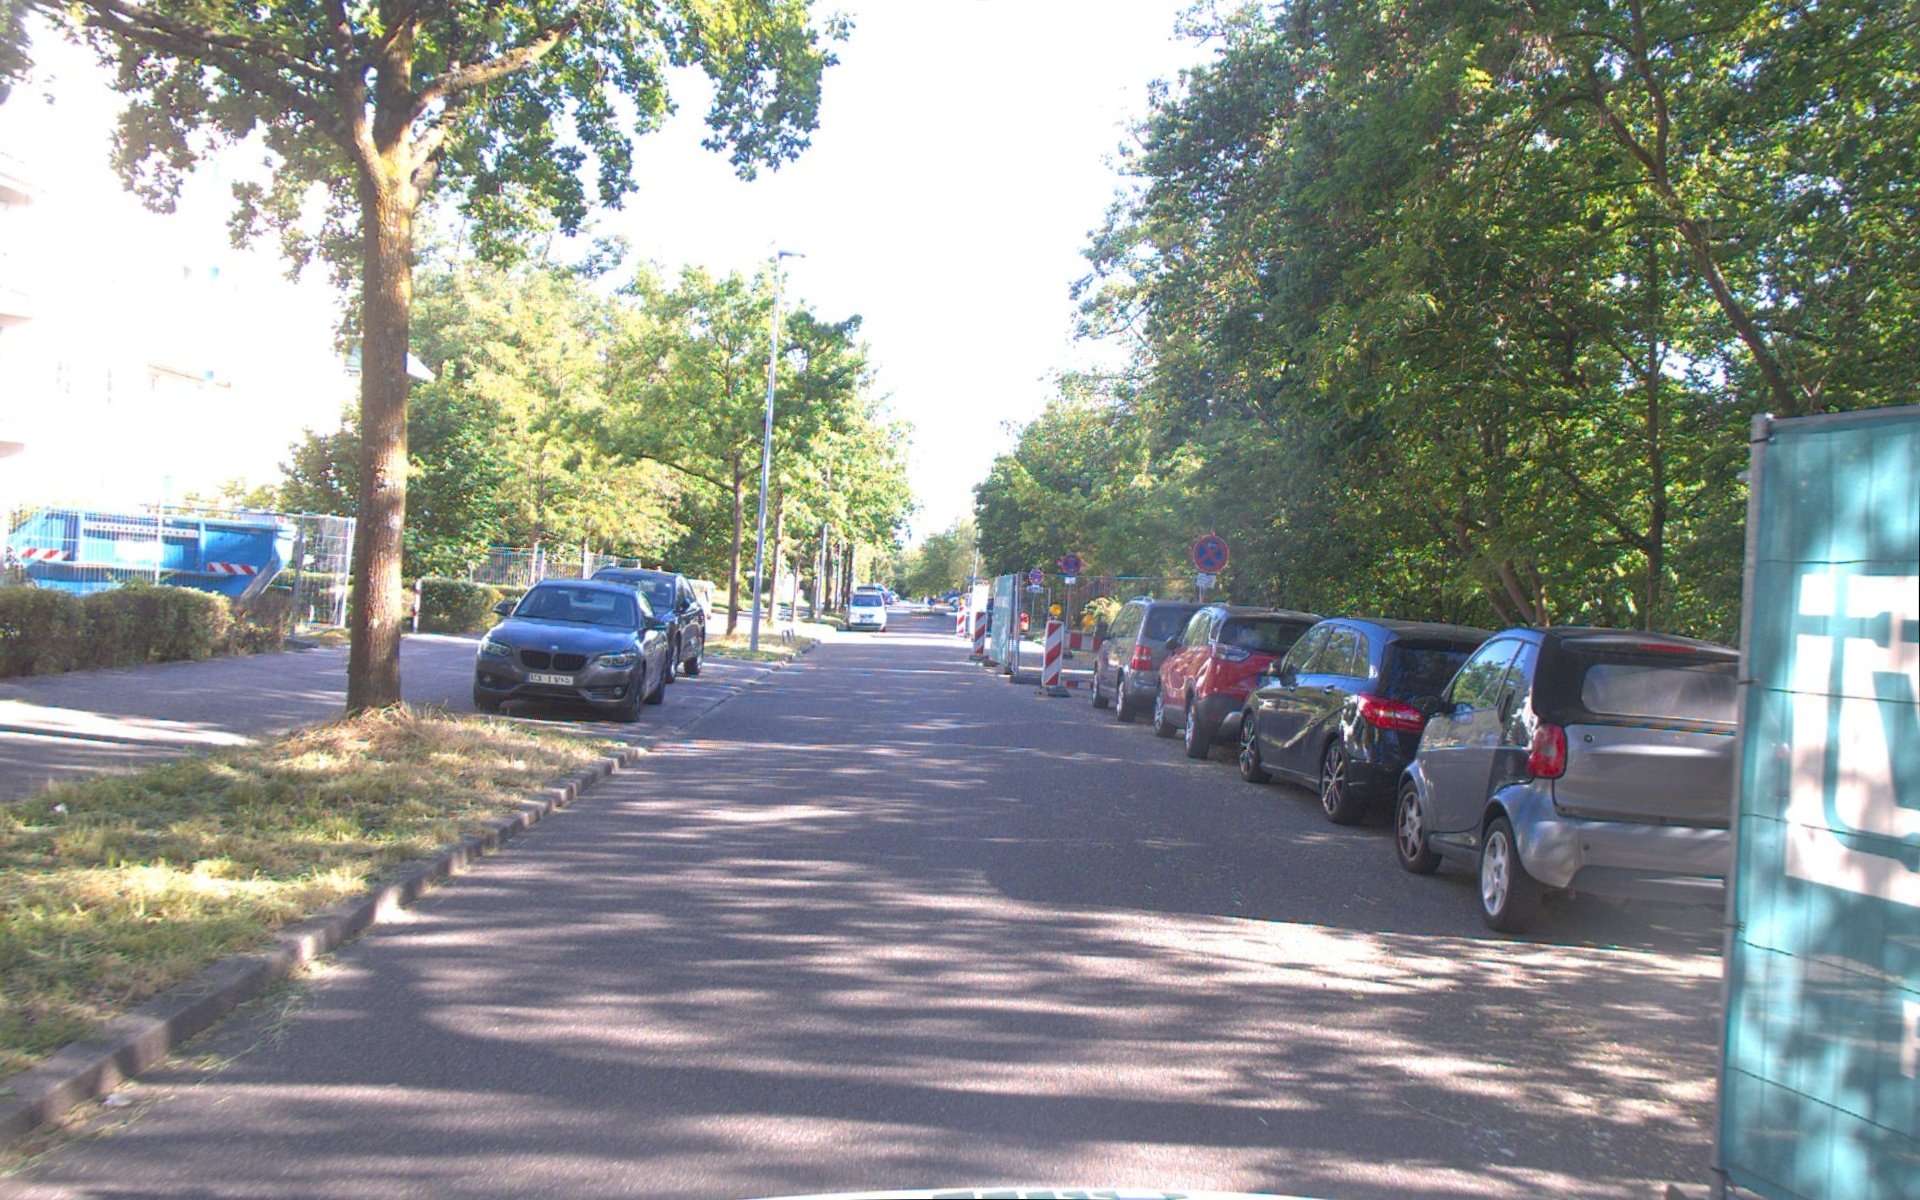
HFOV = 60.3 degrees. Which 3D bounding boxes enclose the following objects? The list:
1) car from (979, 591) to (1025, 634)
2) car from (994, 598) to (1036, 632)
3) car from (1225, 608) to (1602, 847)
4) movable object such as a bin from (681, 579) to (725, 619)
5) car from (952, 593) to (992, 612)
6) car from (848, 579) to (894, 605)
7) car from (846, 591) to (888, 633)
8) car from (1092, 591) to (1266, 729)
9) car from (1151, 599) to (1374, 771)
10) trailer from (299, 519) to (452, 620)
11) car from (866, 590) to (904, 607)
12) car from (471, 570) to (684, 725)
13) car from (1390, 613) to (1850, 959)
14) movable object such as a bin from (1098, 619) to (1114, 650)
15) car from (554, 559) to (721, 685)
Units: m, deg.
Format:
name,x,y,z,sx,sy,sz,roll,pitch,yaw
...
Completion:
name,x,y,z,sx,sy,sz,roll,pitch,yaw
car,1.845,0.550,71.977,1.773,1.679,4.422,4,0,3
car,2.590,0.684,78.379,1.628,1.399,4.154,4,0,-2
car,3.555,0.918,13.798,1.678,1.535,4.146,4,0,-4
movable object such as a bin,-9.791,-0.048,63.113,1.242,1.460,1.182,2,0,15
car,1.180,0.251,163.623,3.758,1.604,1.689,5,0,5
car,-10.430,-0.954,193.110,5.101,2.666,2.290,5,0,-6
car,-3.899,0.463,69.260,1.626,1.624,4.006,3,0,-3
car,2.957,0.756,23.129,1.645,1.649,4.135,4,0,-2
car,3.255,0.848,18.526,1.645,1.601,4.066,4,0,0
trailer,-13.928,-0.699,39.718,1.825,2.157,4.347,5,0,2
car,-8.360,-0.154,184.214,4.023,1.604,1.958,5,0,0
car,-4.232,0.467,18.902,1.683,1.457,4.133,5,0,-5
car,3.520,0.903,9.289,1.463,1.535,2.677,4,0,1
movable object such as a bin,4.223,0.987,47.977,0.404,0.885,0.484,1,0,-1
car,-4.887,0.302,25.619,1.740,1.649,4.219,5,0,-1
